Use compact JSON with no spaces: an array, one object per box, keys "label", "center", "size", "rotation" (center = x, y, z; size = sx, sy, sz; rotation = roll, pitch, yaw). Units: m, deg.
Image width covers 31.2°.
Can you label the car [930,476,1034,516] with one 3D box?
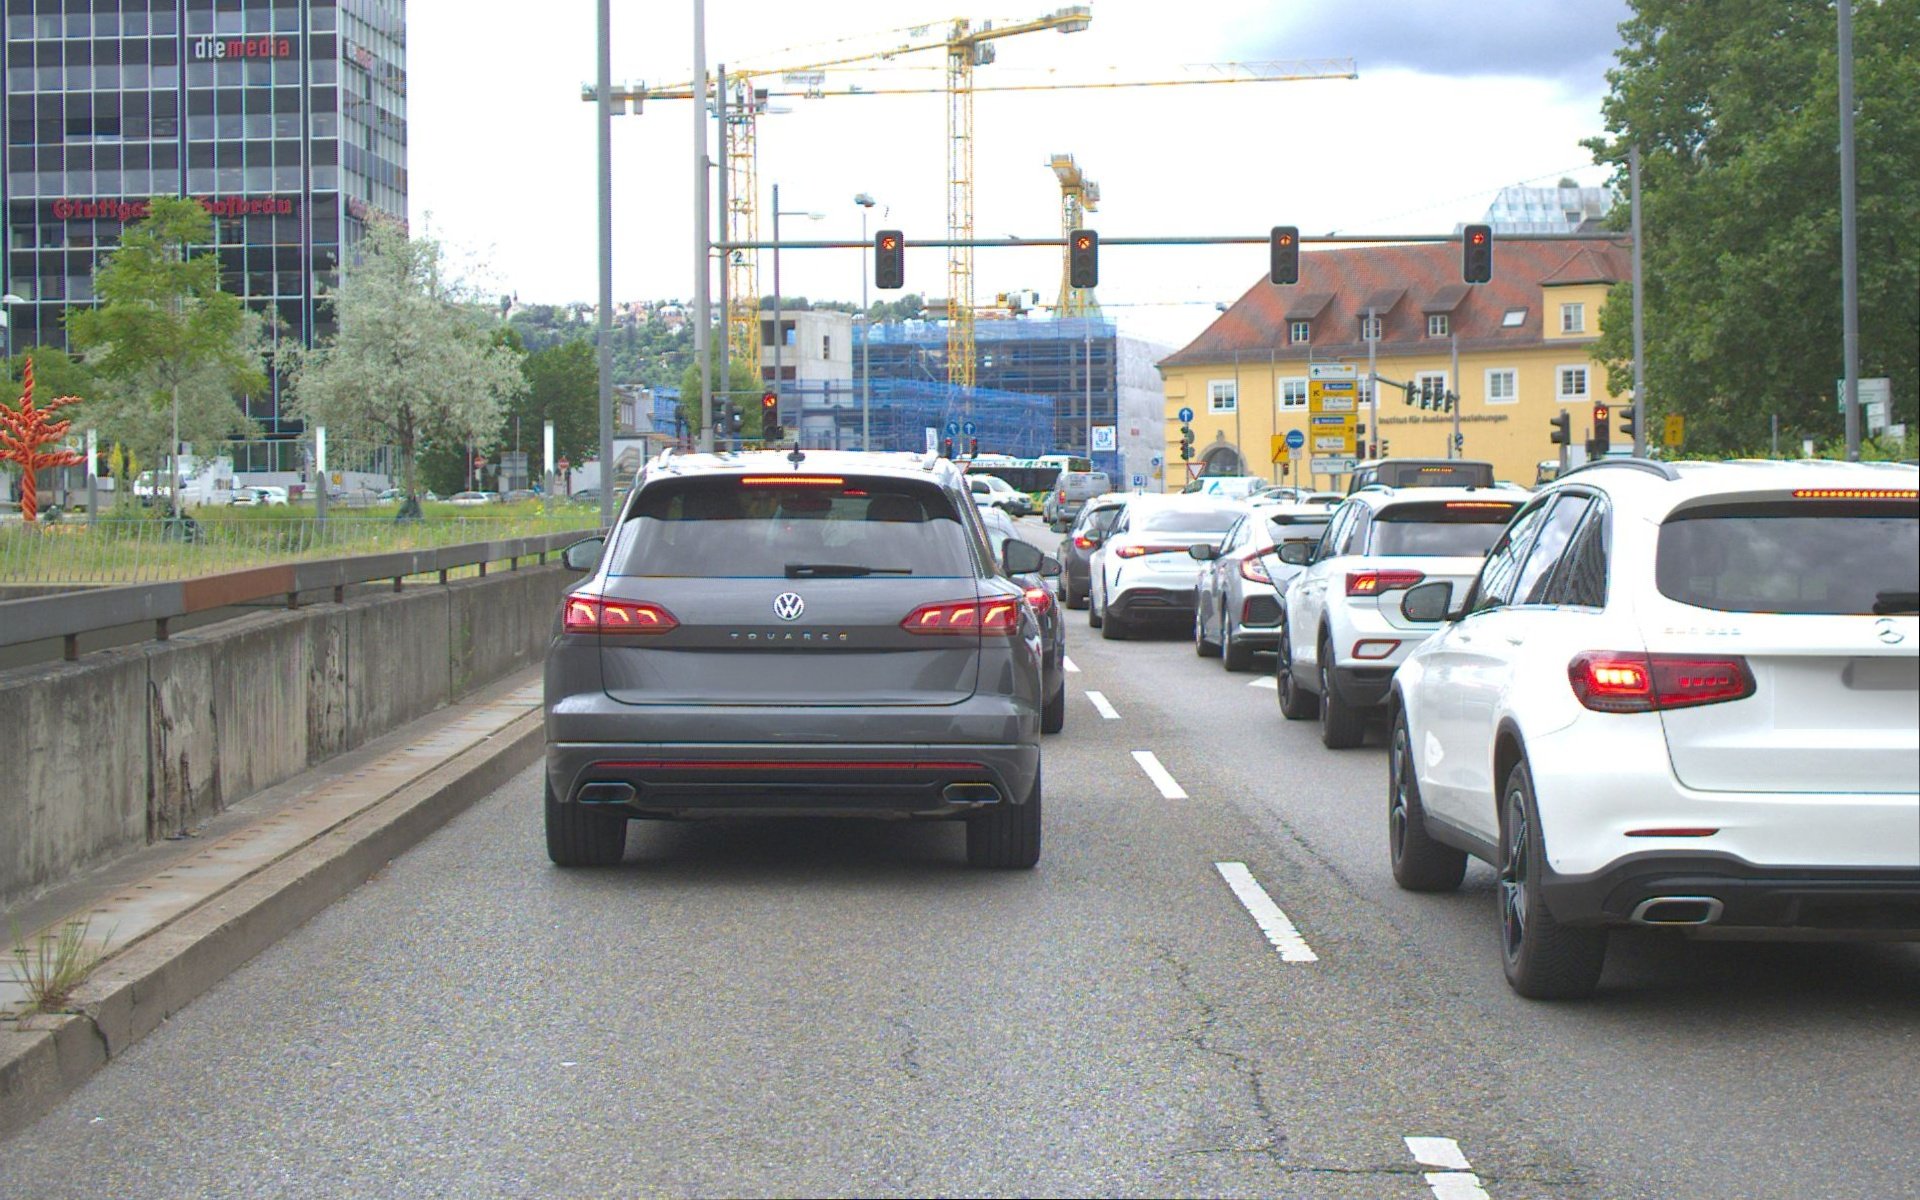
[{"label":"car","center":[0.933,-4.468,147.192],"size":[4.108,1.605,1.826],"rotation":[2,0,35]}]

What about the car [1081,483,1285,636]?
[{"label":"car","center":[2.327,-0.450,36.937],"size":[1.926,1.524,4.490],"rotation":[1,1,1]}]

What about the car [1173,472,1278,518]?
[{"label":"car","center":[12.444,-4.929,161.481],"size":[4.454,2.007,1.996],"rotation":[2,0,34]}]

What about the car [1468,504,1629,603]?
[{"label":"car","center":[9.170,-0.737,53.807],"size":[1.757,1.442,3.634],"rotation":[2,1,-2]}]

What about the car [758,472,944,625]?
[{"label":"car","center":[-1.208,-0.609,38.950],"size":[1.951,1.594,3.931],"rotation":[2,2,-1]}]

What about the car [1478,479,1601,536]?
[{"label":"car","center":[21.632,-3.456,128.323],"size":[3.995,2.007,1.996],"rotation":[2,0,33]}]

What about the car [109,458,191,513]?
[{"label":"car","center":[-30.920,-4.381,131.384],"size":[1.993,2.006,4.692],"rotation":[0,3,0]}]

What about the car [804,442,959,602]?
[{"label":"car","center":[-1.053,-1.062,46.486],"size":[1.951,2.011,3.931],"rotation":[2,2,-1]}]

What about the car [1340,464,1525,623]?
[{"label":"car","center":[6.329,-0.769,46.447],"size":[1.910,2.007,4.012],"rotation":[2,1,0]}]

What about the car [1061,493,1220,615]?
[{"label":"car","center":[2.356,-0.623,45.757],"size":[1.926,1.524,4.048],"rotation":[1,1,1]}]

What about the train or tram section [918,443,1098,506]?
[{"label":"train or tram section","center":[2.391,-6.311,172.564],"size":[8.938,2.999,2.592],"rotation":[2,0,32]}]

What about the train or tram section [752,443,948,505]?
[{"label":"train or tram section","center":[-5.734,-6.541,177.795],"size":[10.415,2.999,2.592],"rotation":[2,0,33]}]

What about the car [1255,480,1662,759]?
[{"label":"car","center":[2.989,0.067,21.558],"size":[1.926,1.545,4.490],"rotation":[1,1,1]}]

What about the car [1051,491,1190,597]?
[{"label":"car","center":[2.387,-0.856,52.042],"size":[1.926,1.524,4.048],"rotation":[1,1,1]}]

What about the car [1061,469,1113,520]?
[{"label":"car","center":[4.390,-3.652,119.361],"size":[1.619,1.622,4.000],"rotation":[2,0,0]}]

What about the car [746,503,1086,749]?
[{"label":"car","center":[-0.291,0.096,22.137],"size":[1.951,1.379,3.931],"rotation":[2,2,-1]}]

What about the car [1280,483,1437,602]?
[{"label":"car","center":[6.059,-0.889,52.709],"size":[1.910,1.691,4.012],"rotation":[2,1,0]}]

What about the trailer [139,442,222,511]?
[{"label":"trailer","center":[-30.903,-4.926,136.483],"size":[2.037,2.595,5.509],"rotation":[2,2,-1]}]

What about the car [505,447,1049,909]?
[{"label":"car","center":[-0.703,0.228,14.557],"size":[1.951,1.645,4.001],"rotation":[1,2,-1]}]

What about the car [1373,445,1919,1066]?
[{"label":"car","center":[2.579,0.344,11.362],"size":[1.926,1.648,4.490],"rotation":[0,2,1]}]

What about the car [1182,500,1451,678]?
[{"label":"car","center":[3.047,-0.134,30.218],"size":[1.926,1.427,4.490],"rotation":[1,1,1]}]
